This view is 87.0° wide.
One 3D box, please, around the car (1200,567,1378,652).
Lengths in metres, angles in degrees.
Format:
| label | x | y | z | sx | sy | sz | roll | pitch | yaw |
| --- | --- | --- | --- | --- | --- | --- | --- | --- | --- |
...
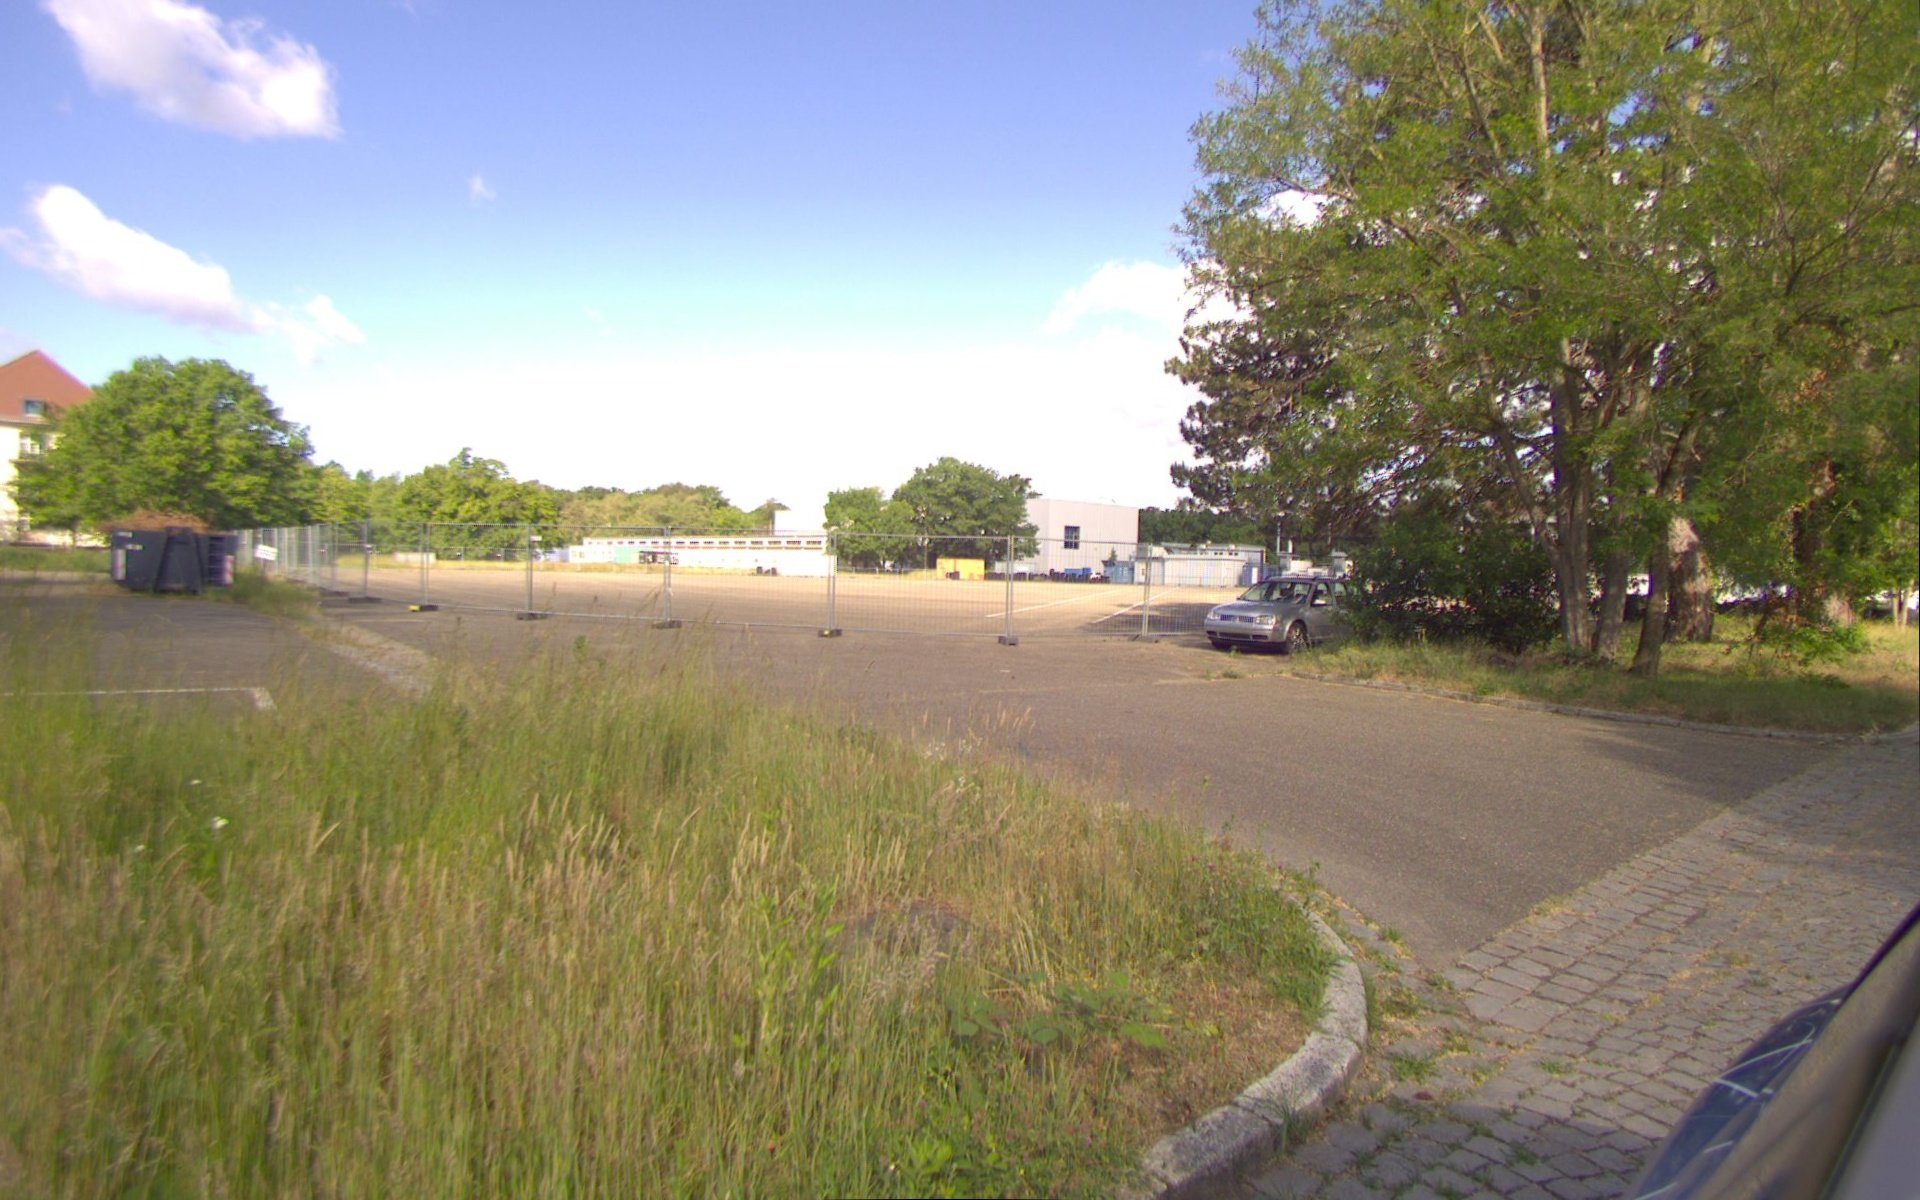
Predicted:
| label | x | y | z | sx | sy | sz | roll | pitch | yaw |
| --- | --- | --- | --- | --- | --- | --- | --- | --- | --- |
| car | 6.449 | 0.141 | 19.618 | 3.920 | 1.461 | 1.576 | 0 | 3 | -44 |
